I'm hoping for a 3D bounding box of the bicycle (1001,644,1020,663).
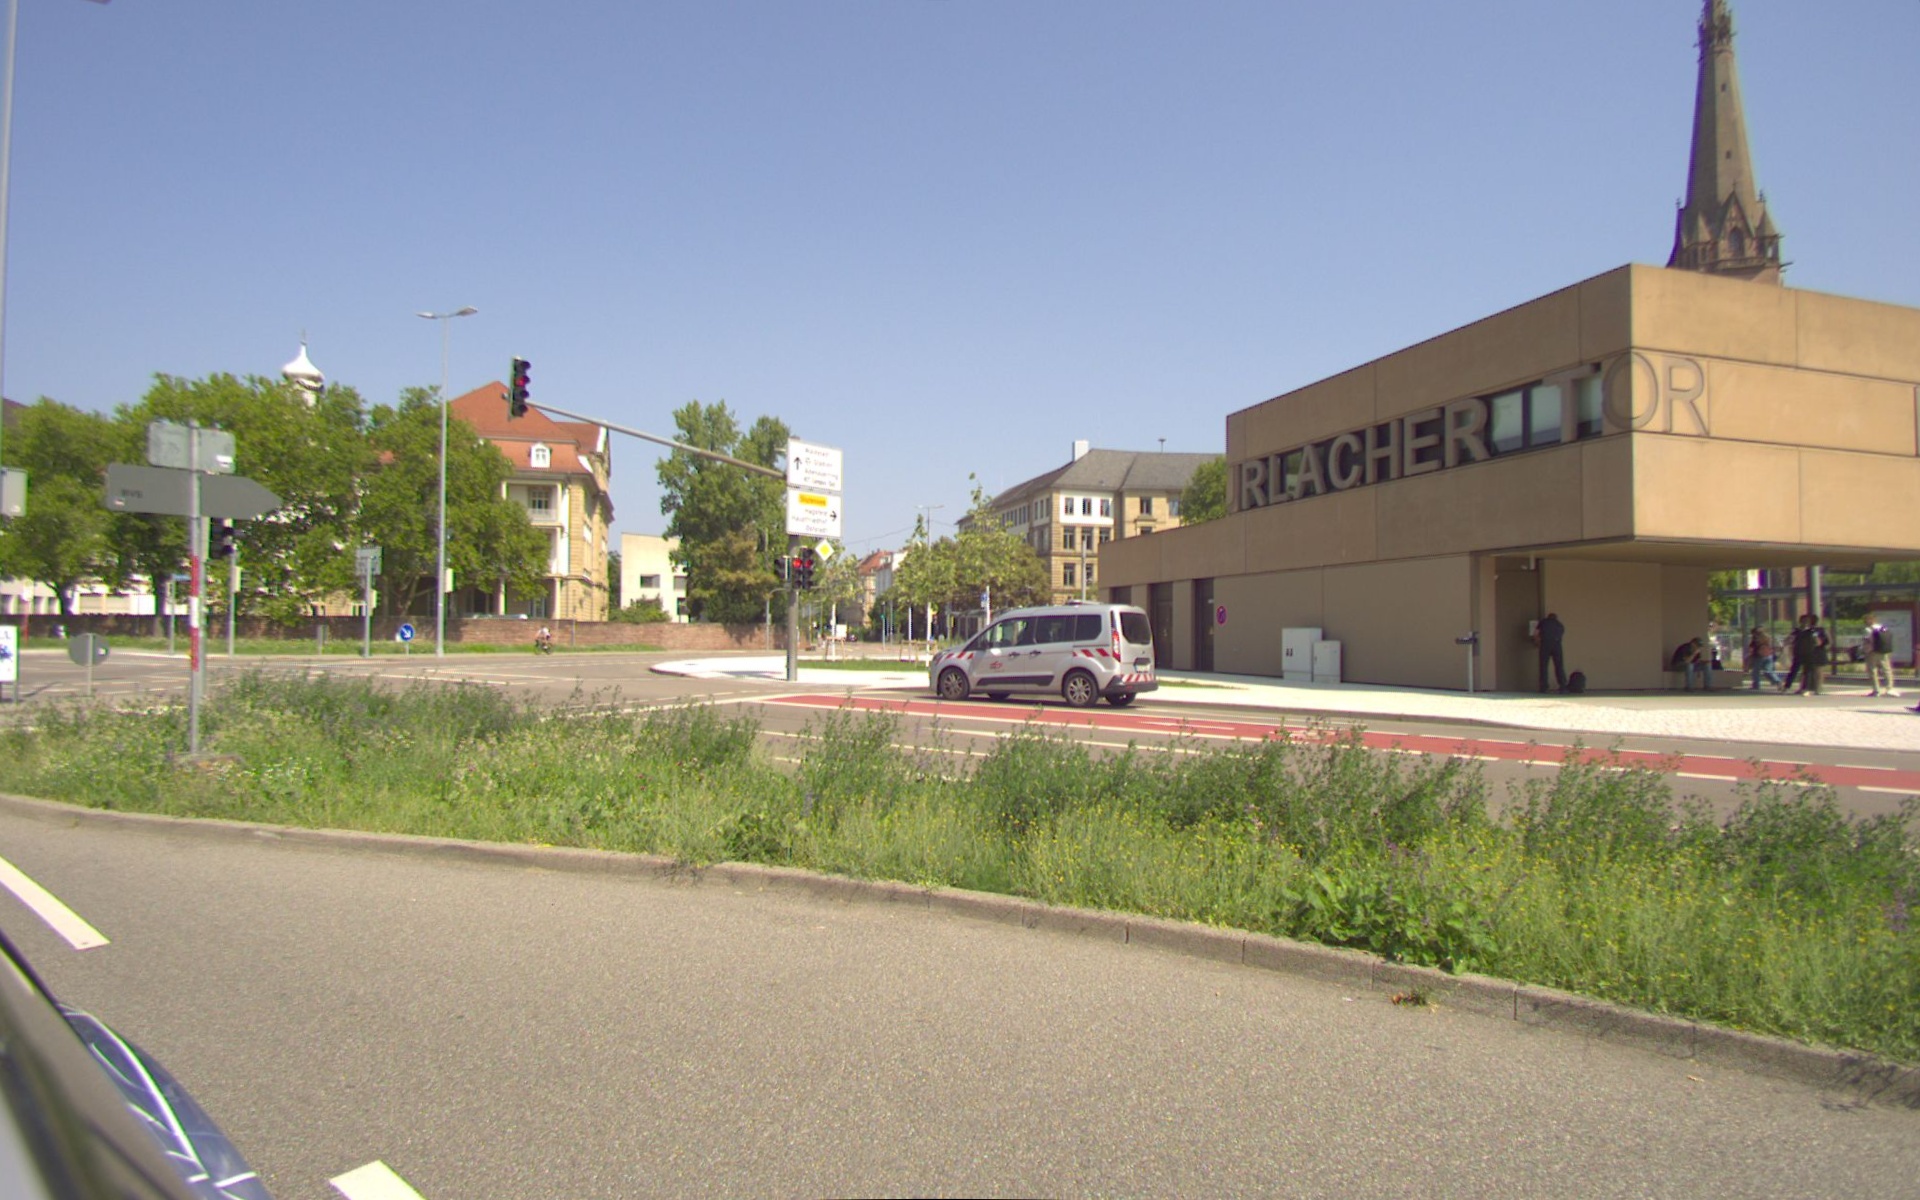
[{"bbox_3d":[2.824,2.991,56.710,0.518,1.048,1.775,2,-3,-14],"label":"bicycle"}]

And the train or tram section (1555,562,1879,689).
[{"bbox_3d":[24.453,1.021,33.473,3.091,3.597,8.268,2,-4,-17],"label":"train or tram section"}]

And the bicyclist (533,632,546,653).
[{"bbox_3d":[-24.361,2.451,58.652,0.429,1.242,0.538,0,-2,16],"label":"bicyclist"}]

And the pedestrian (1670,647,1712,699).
[{"bbox_3d":[15.702,1.560,21.747,0.531,1.092,0.502,1,-2,-17],"label":"pedestrian"}]

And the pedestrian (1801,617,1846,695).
[{"bbox_3d":[18.318,1.190,21.475,0.485,1.626,0.509,0,-2,7],"label":"pedestrian"}]

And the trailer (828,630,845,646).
[{"bbox_3d":[-24.839,7.636,203.169,2.400,3.313,5.104,1,-3,-19],"label":"trailer"}]

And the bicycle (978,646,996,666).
[{"bbox_3d":[1.500,3.130,56.629,0.518,1.090,1.870,2,-3,-14],"label":"bicycle"}]

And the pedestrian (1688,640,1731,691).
[{"bbox_3d":[16.232,1.408,21.923,0.531,1.092,0.502,1,-2,-17],"label":"pedestrian"}]

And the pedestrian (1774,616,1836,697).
[{"bbox_3d":[17.226,1.152,20.639,0.628,1.626,0.694,1,-2,-11],"label":"pedestrian"}]

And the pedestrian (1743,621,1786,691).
[{"bbox_3d":[18.891,1.317,23.768,0.484,1.626,0.571,1,-2,-3],"label":"pedestrian"}]

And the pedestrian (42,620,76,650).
[{"bbox_3d":[-60.886,2.361,68.406,1.217,2.029,1.072,1,-3,-1],"label":"pedestrian"}]

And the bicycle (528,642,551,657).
[{"bbox_3d":[-24.361,2.864,58.673,0.433,0.818,1.478,0,-2,16],"label":"bicycle"}]

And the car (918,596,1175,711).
[{"bbox_3d":[1.552,0.997,18.672,4.325,1.874,1.976,-1,-5,36],"label":"car"}]

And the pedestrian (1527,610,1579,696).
[{"bbox_3d":[11.955,1.056,20.432,0.740,1.701,0.629,0,-2,17],"label":"pedestrian"}]

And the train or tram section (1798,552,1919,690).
[{"bbox_3d":[26.882,0.532,25.611,3.091,3.597,8.268,2,-4,-17],"label":"train or tram section"}]

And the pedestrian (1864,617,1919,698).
[{"bbox_3d":[19.708,1.208,21.414,0.809,1.682,0.544,-2,-3,40],"label":"pedestrian"}]
